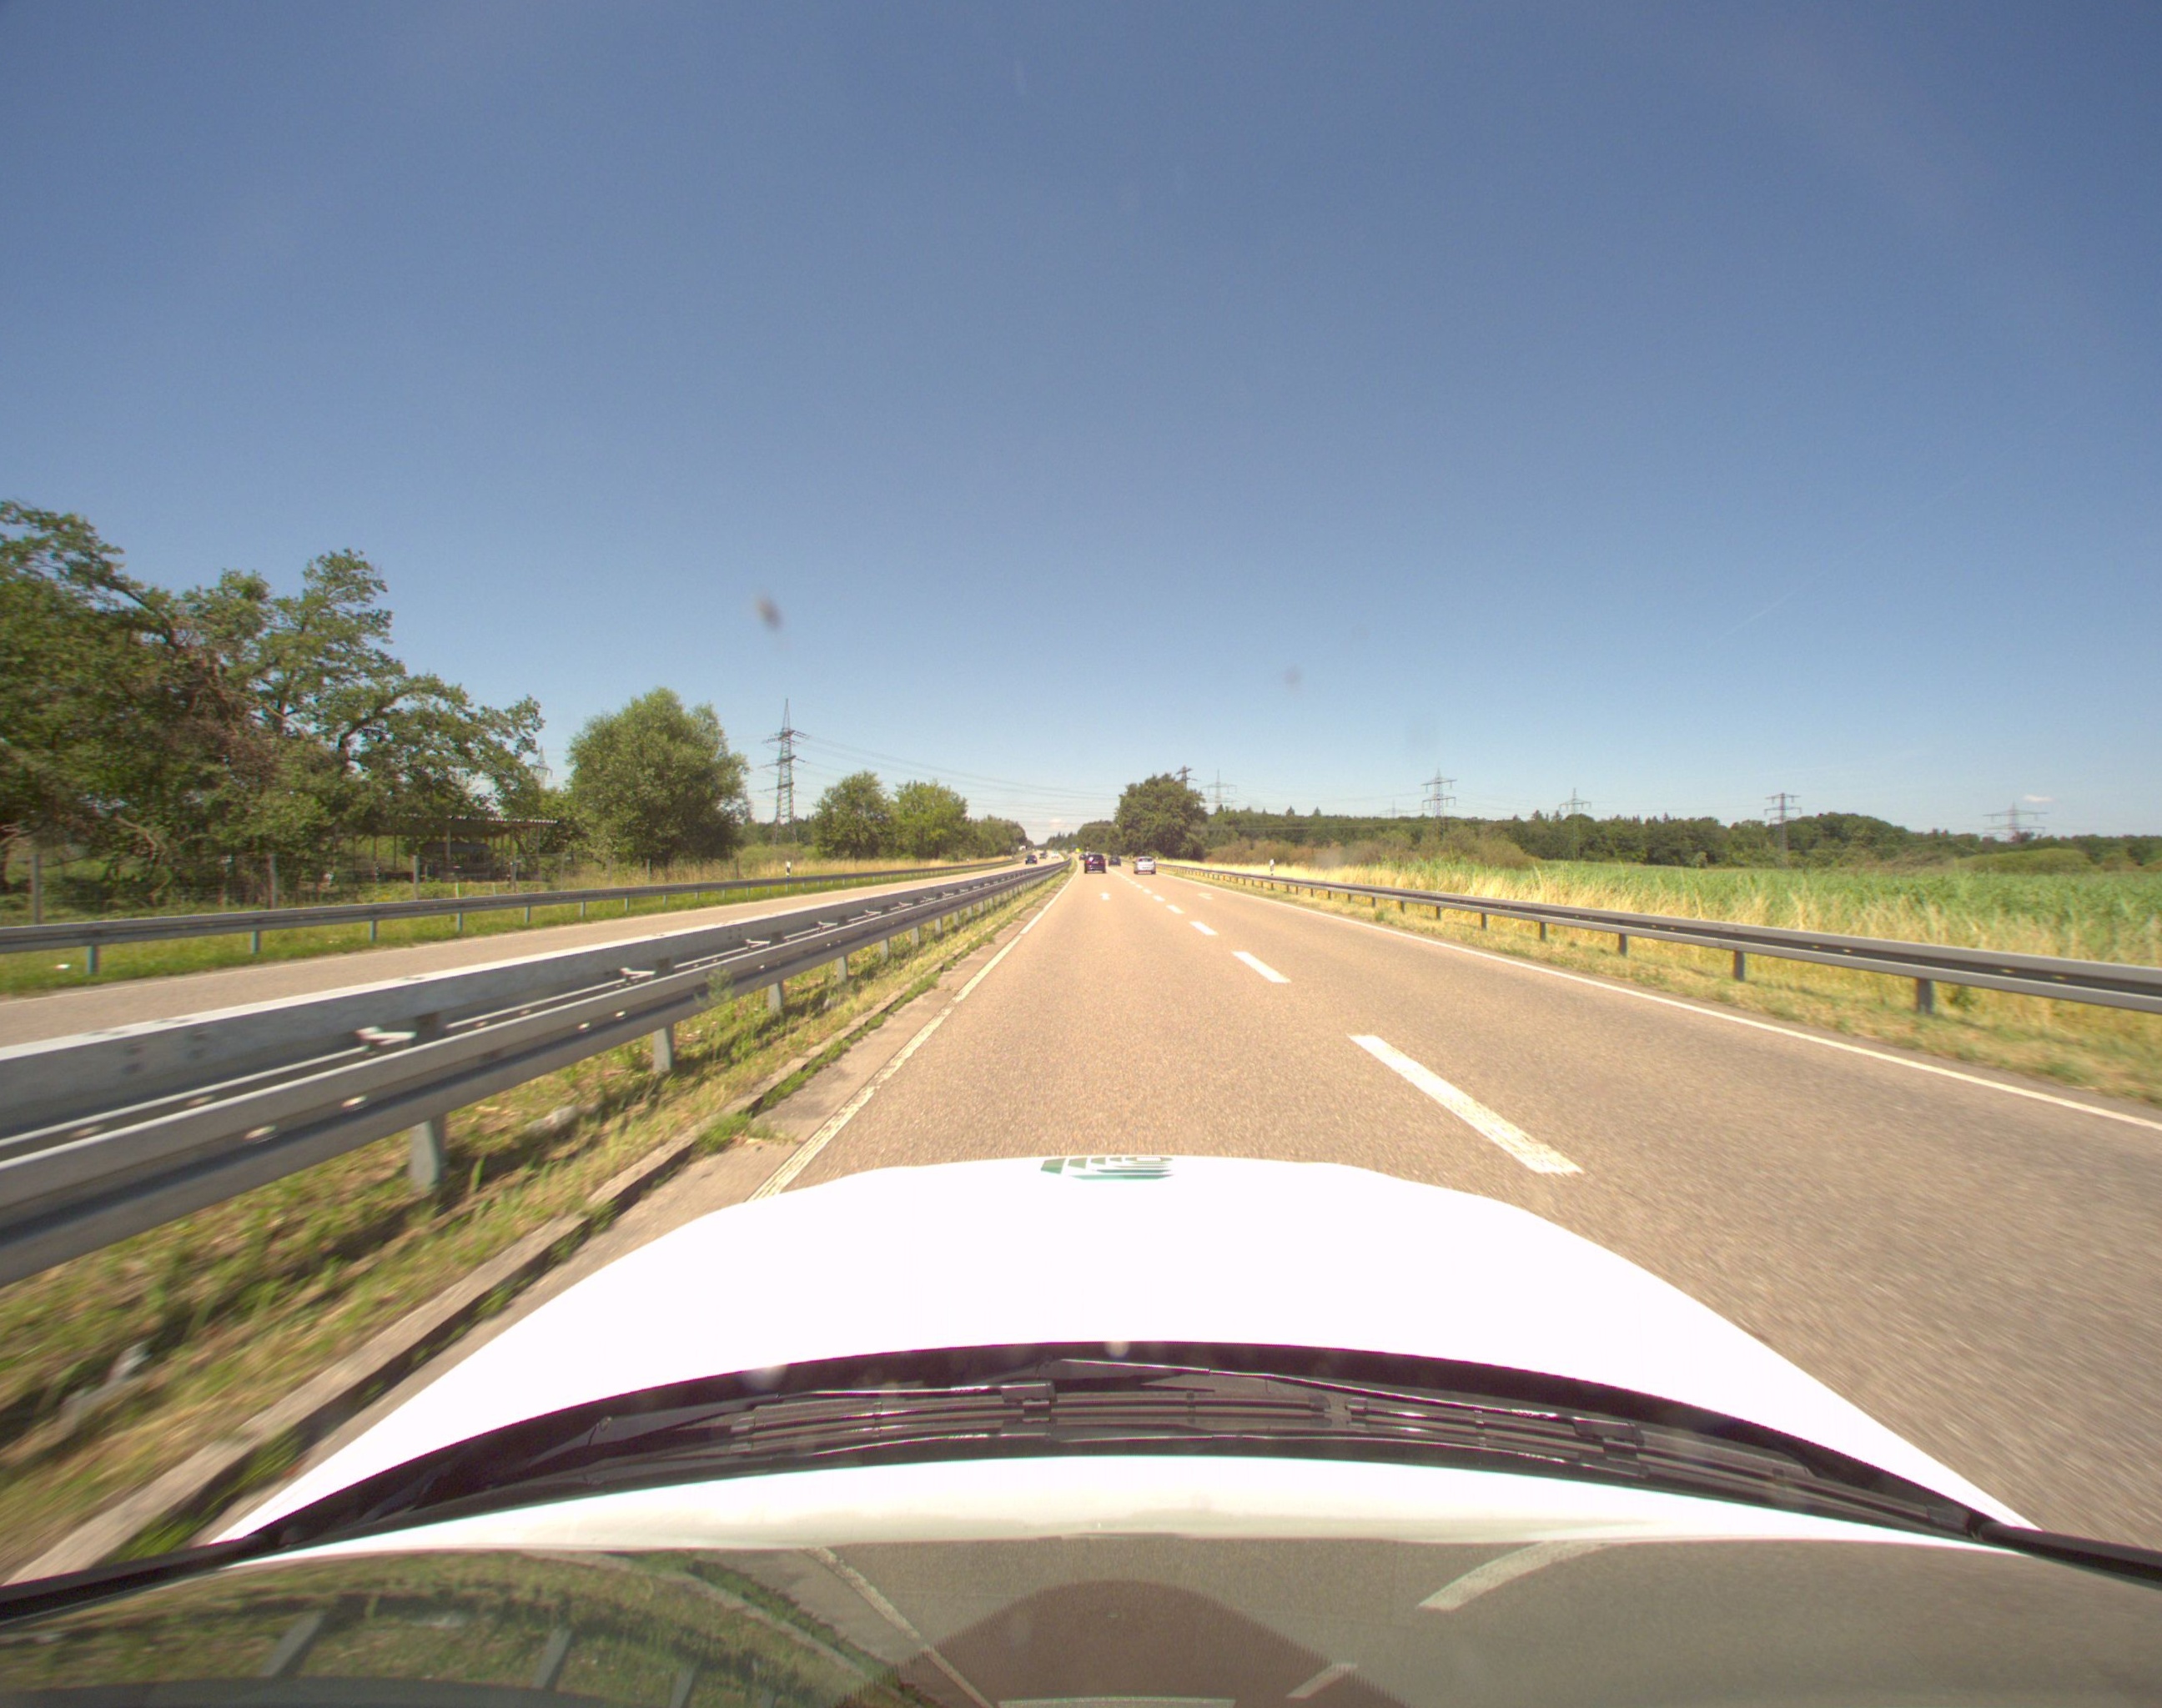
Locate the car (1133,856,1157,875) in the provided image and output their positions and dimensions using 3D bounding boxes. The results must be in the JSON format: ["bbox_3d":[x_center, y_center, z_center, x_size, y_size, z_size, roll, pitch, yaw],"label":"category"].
[{"bbox_3d":[5.320,0.956,68.230,1.772,1.479,4.317,0,0,2],"label":"car"}]

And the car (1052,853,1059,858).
[{"bbox_3d":[-7.377,0.471,237.142,1.989,1.662,3.996,0,0,-2],"label":"car"}]

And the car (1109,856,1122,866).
[{"bbox_3d":[4.988,1.077,117.960,1.812,1.414,4.002,0,0,2],"label":"car"}]

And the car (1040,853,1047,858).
[{"bbox_3d":[-10.186,0.446,220.512,1.609,1.475,3.066,0,0,0],"label":"car"}]

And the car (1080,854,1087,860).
[{"bbox_3d":[0.627,0.769,190.339,1.509,1.475,3.067,0,0,2],"label":"car"}]

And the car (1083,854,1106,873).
[{"bbox_3d":[1.274,0.831,72.997,1.986,1.654,4.001,0,0,2],"label":"car"}]

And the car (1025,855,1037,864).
[{"bbox_3d":[-8.532,0.943,139.638,1.826,1.475,3.683,0,0,-1],"label":"car"}]
